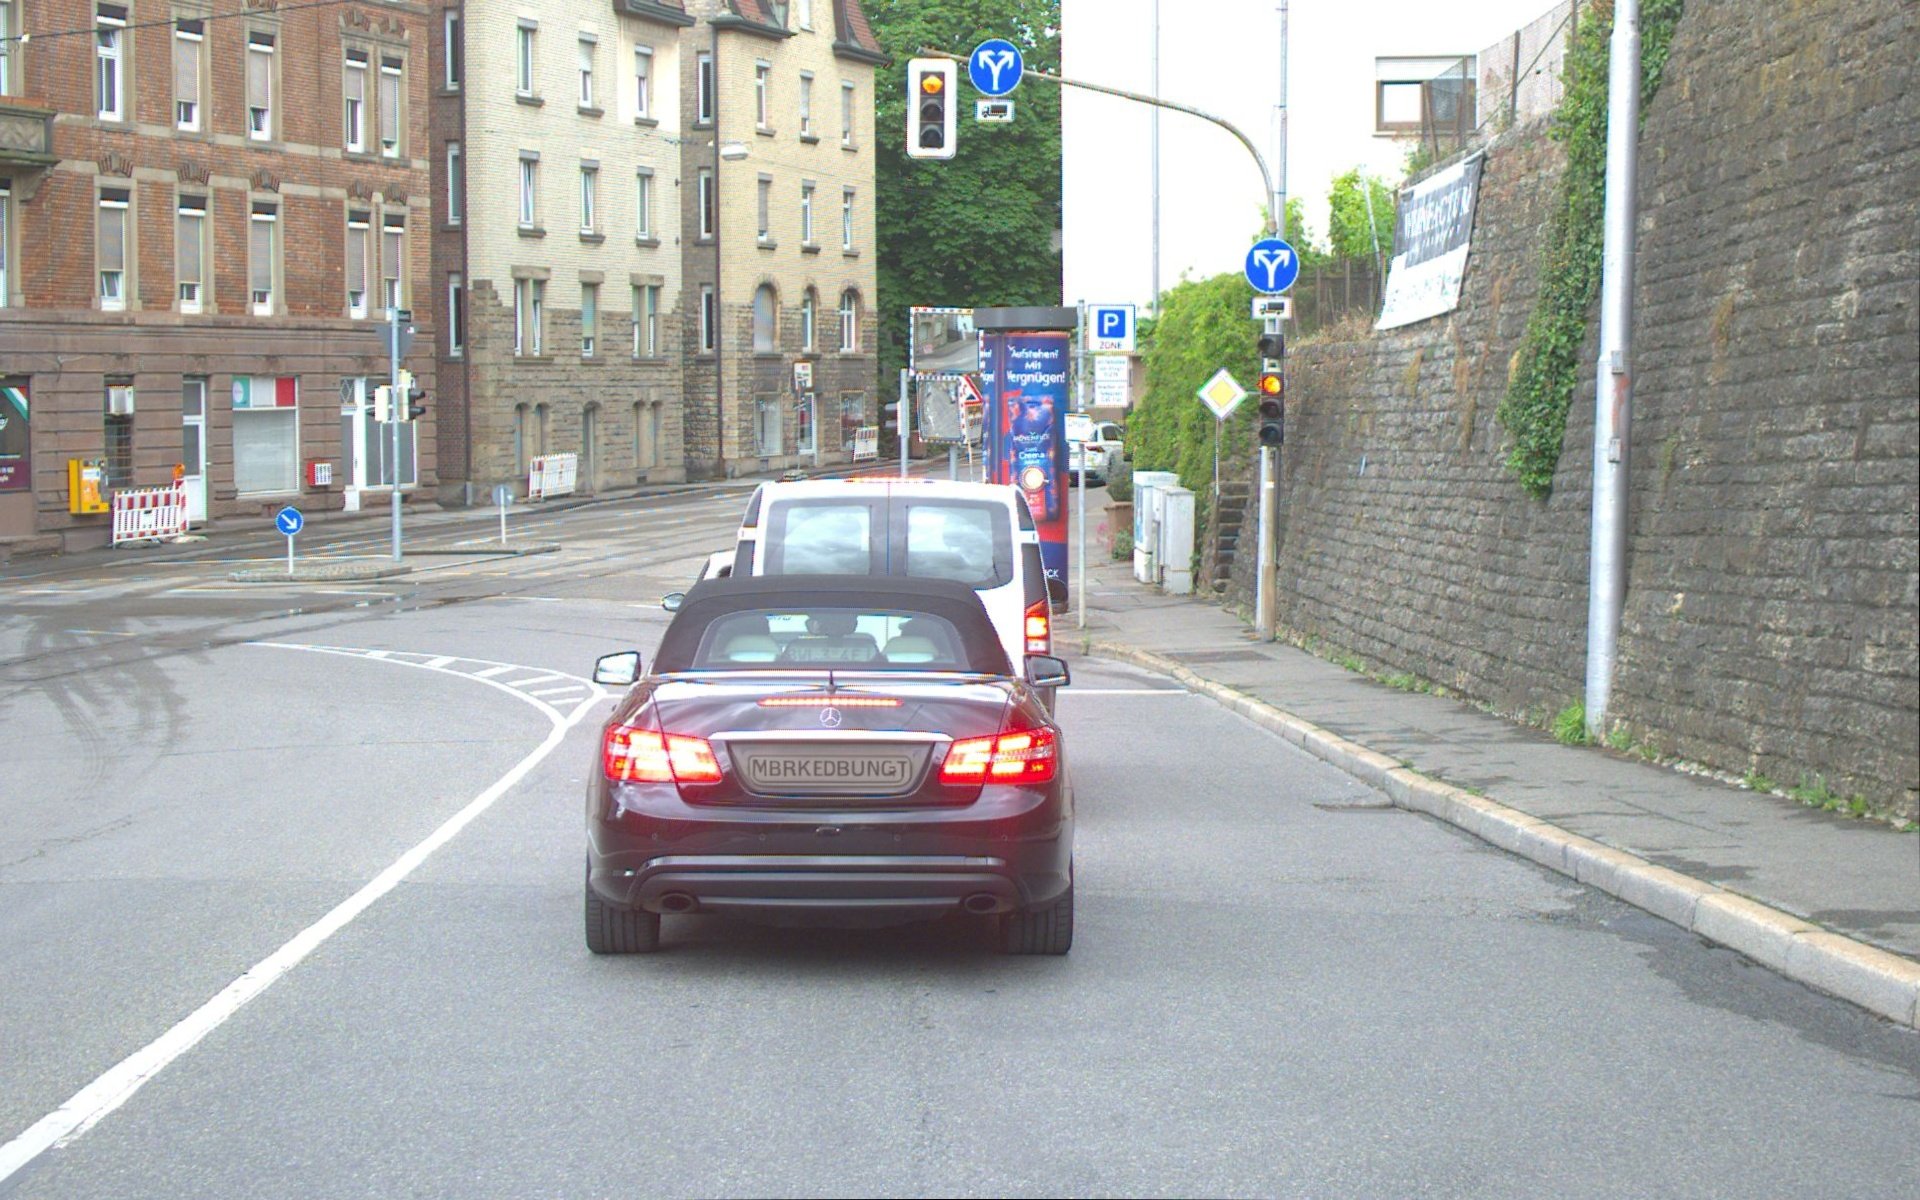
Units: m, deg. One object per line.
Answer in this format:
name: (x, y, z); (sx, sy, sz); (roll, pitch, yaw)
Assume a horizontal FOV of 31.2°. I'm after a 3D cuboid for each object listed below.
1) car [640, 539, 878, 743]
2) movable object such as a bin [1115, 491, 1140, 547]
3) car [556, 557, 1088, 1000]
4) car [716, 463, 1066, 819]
car: (-1.515, 0.264, 27.025); (1.681, 1.461, 3.919); (0, 1, -1)
movable object such as a bin: (2.764, -1.341, 56.729); (0.343, 0.908, 0.495); (0, 2, -6)
car: (-0.488, 0.574, 13.774); (1.761, 1.404, 4.399); (-1, 1, -1)
car: (-0.398, 0.168, 20.908); (1.891, 1.922, 4.646); (0, 1, -1)
